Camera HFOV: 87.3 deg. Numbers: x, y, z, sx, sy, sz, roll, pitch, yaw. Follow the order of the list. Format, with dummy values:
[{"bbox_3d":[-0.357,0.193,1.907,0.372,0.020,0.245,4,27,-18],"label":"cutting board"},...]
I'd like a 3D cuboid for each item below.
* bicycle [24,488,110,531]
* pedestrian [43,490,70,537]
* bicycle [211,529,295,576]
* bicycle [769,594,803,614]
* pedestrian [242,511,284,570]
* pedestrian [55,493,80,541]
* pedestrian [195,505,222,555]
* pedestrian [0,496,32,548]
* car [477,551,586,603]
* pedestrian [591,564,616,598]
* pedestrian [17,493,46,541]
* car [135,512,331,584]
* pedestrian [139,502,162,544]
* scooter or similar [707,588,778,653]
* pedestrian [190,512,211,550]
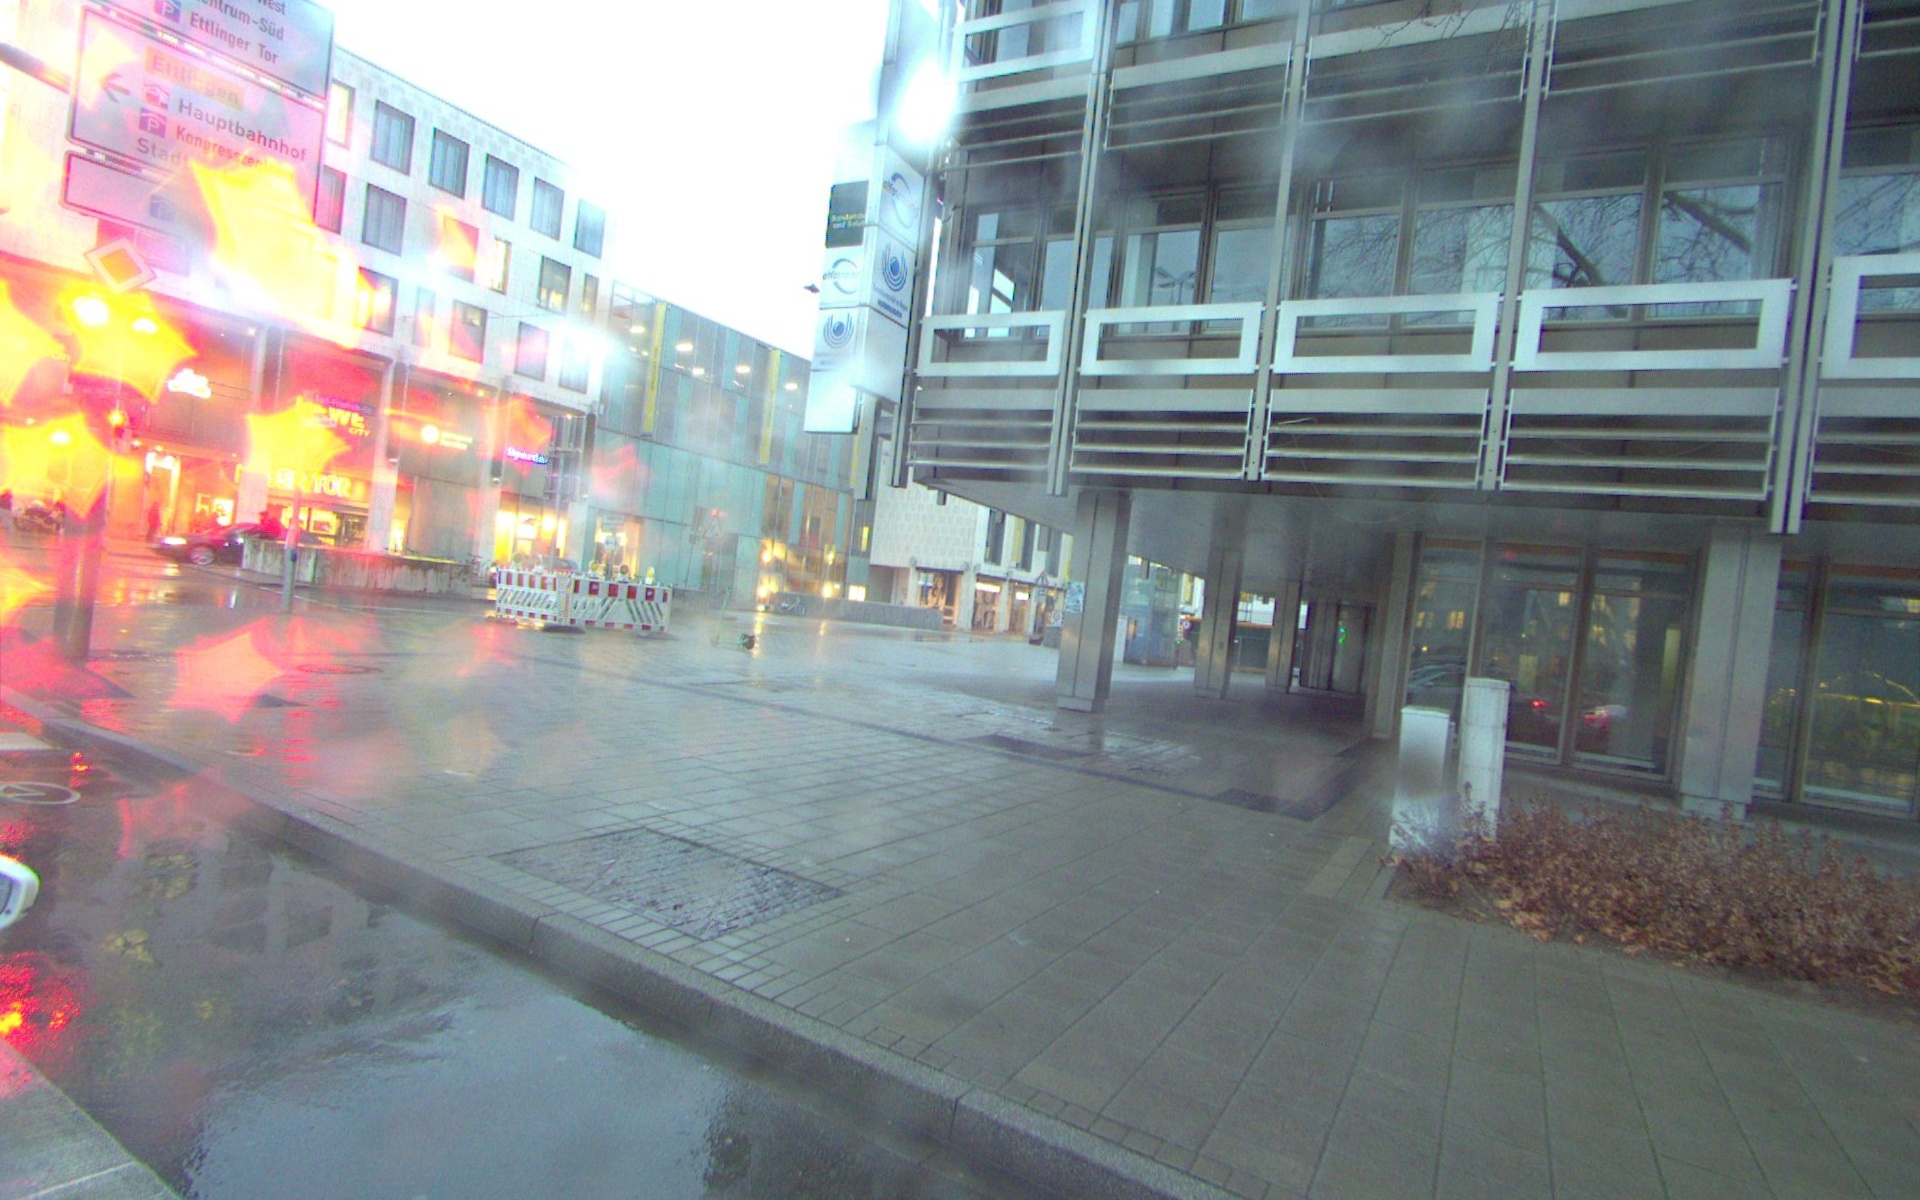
[{"bbox_3d":[-35.977,-3.635,40.562,0.623,1.345,2.431,7,0,26],"label":"bicycle"},{"bbox_3d":[-35.262,-3.365,39.265,0.529,1.739,0.500,6,1,-21],"label":"pedestrian"},{"bbox_3d":[-20.326,-1.348,28.941,1.839,1.107,0.610,7,0,-44],"label":"bicycle"},{"bbox_3d":[-10.685,0.239,61.845,2.101,1.046,0.616,6,0,33],"label":"bicycle"},{"bbox_3d":[-20.126,-1.715,29.046,0.778,1.615,0.605,6,1,-43],"label":"pedestrian"},{"bbox_3d":[-34.493,-3.194,38.890,0.368,1.782,0.512,7,1,31],"label":"pedestrian"},{"bbox_3d":[-27.084,-2.510,36.260,0.529,1.706,0.546,6,1,-21],"label":"pedestrian"},{"bbox_3d":[-34.918,-2.880,37.131,0.656,1.782,0.703,7,1,31],"label":"pedestrian"},{"bbox_3d":[-16.824,-0.874,39.652,1.648,1.601,3.575,6,-1,29],"label":"car"},{"bbox_3d":[-18.346,-0.966,51.767,0.697,1.650,0.795,6,-1,31],"label":"pedestrian"},{"bbox_3d":[-35.639,-3.190,38.607,0.529,1.739,0.500,6,1,-21],"label":"pedestrian"},{"bbox_3d":[-22.414,-1.565,31.161,1.771,1.593,4.533,7,-1,39],"label":"car"},{"bbox_3d":[-35.329,-3.360,43.907,0.529,1.739,0.500,6,1,-21],"label":"pedestrian"},{"bbox_3d":[-4.370,0.408,20.231,1.215,1.144,0.606,7,0,32],"label":"scooter or similar"},{"bbox_3d":[-36.403,-3.322,48.206,0.529,1.739,0.500,6,1,-21],"label":"pedestrian"}]
